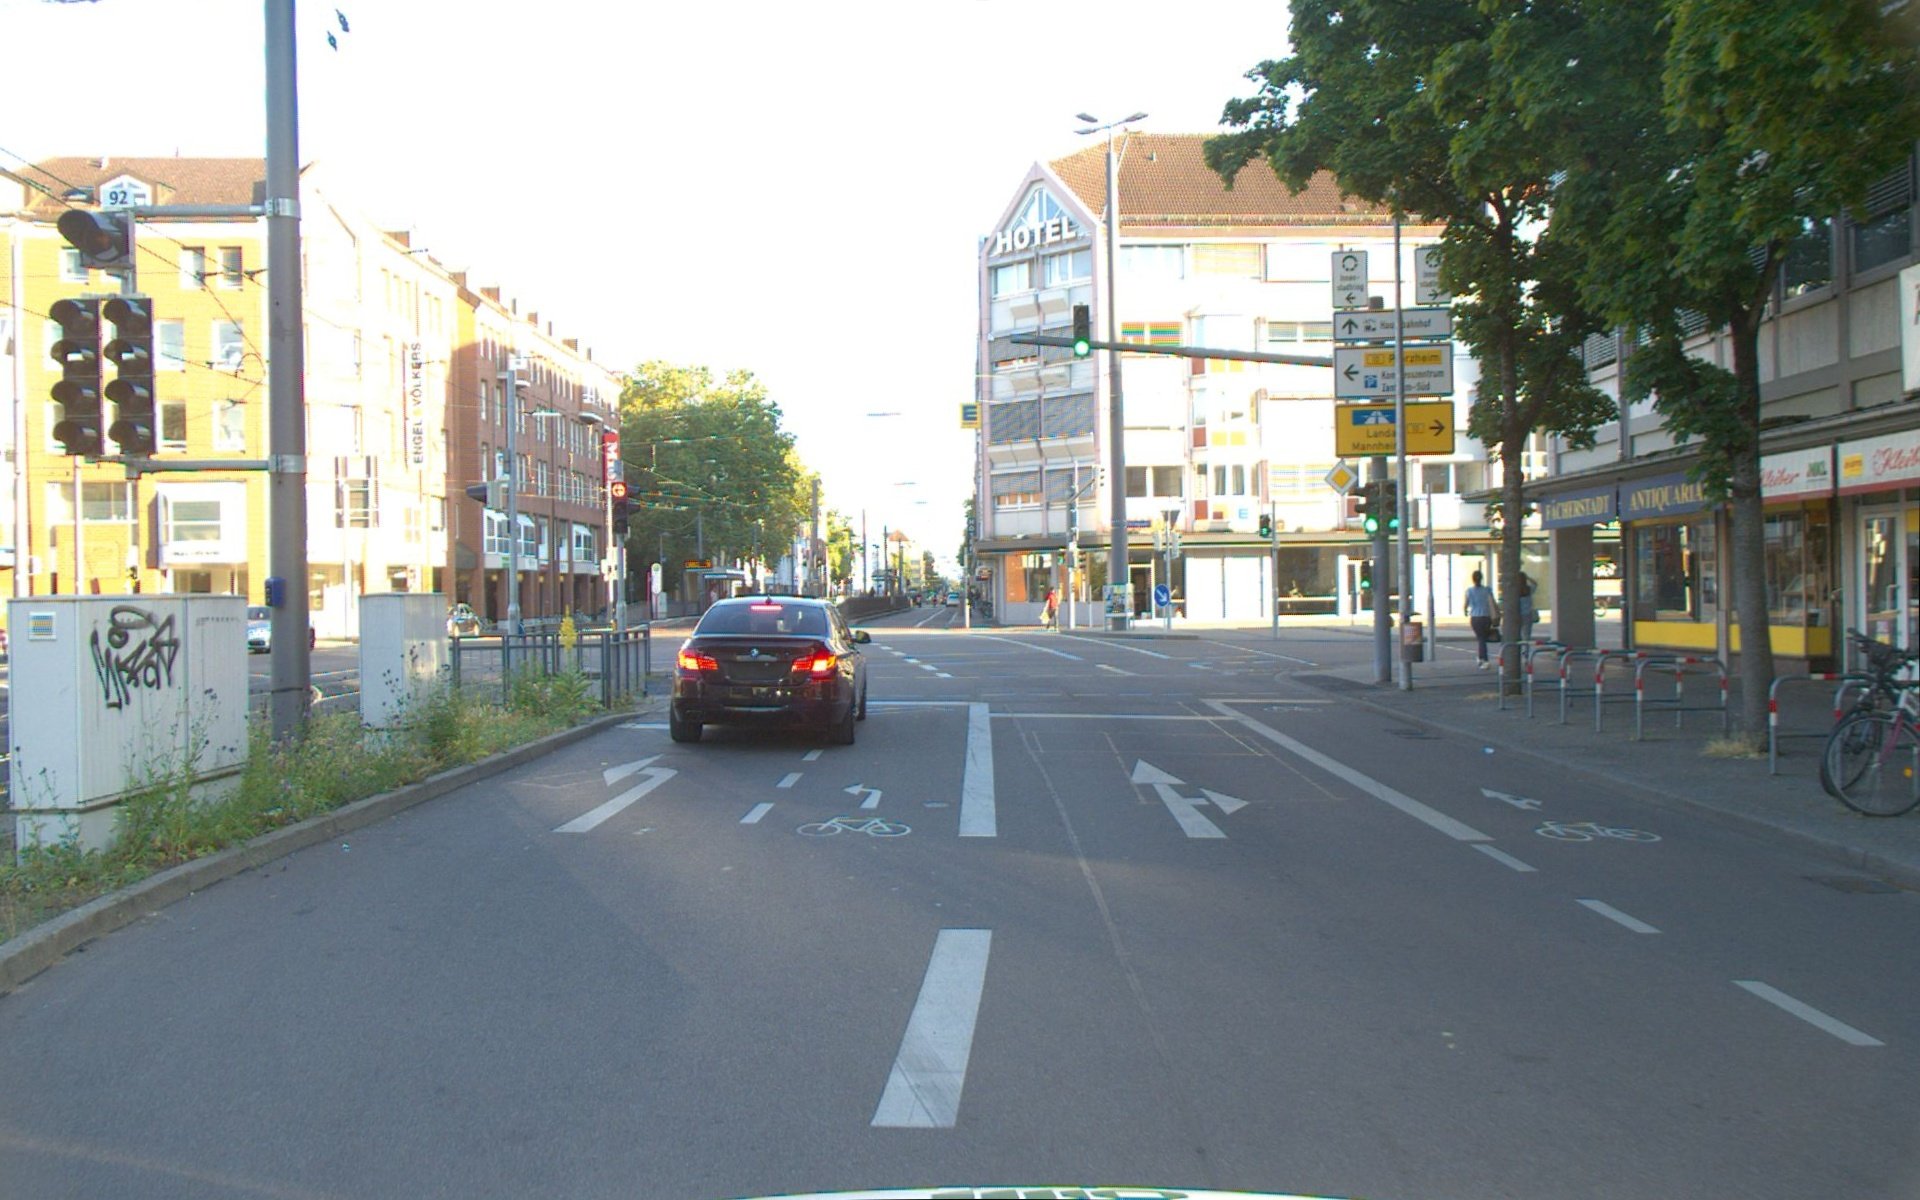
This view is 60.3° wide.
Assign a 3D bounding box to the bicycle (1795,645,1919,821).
[{"bbox_3d":[6.795,0.883,11.160,1.954,1.130,0.669,-1,0,13],"label":"bicycle"}]

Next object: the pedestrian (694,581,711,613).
[{"bbox_3d":[-16.395,-0.191,105.458,0.968,2.049,0.726,1,0,-1],"label":"pedestrian"}]

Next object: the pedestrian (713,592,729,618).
[{"bbox_3d":[-16.011,0.326,110.892,0.968,1.710,0.726,-1,0,-2],"label":"pedestrian"}]

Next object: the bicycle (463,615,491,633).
[{"bbox_3d":[-24.942,1.231,85.404,1.390,0.938,0.442,1,0,-17],"label":"bicycle"}]

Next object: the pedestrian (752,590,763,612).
[{"bbox_3d":[-16.032,0.042,130.794,0.708,1.710,0.991,-1,0,2],"label":"pedestrian"}]

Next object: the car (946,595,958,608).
[{"bbox_3d":[-0.956,0.165,206.597,1.443,1.541,3.095,-1,0,-1],"label":"car"}]

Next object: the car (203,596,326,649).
[{"bbox_3d":[-20.679,0.632,49.359,1.634,1.473,4.204,-1,0,4],"label":"car"}]

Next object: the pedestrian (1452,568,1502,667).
[{"bbox_3d":[9.009,0.295,28.818,0.670,1.696,0.671,-1,0,3],"label":"pedestrian"}]

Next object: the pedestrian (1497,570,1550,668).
[{"bbox_3d":[9.915,0.325,29.135,0.708,1.696,0.671,-1,0,3],"label":"pedestrian"}]

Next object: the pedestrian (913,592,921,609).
[{"bbox_3d":[-5.097,0.031,197.785,0.896,2.049,0.887,-1,0,-1],"label":"pedestrian"}]

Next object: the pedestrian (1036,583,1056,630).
[{"bbox_3d":[3.449,0.253,66.407,0.671,1.886,0.670,-1,0,-4],"label":"pedestrian"}]

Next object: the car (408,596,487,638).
[{"bbox_3d":[-20.976,0.680,67.859,1.953,1.612,4.477,-1,0,-2],"label":"car"}]

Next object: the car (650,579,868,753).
[{"bbox_3d":[-2.015,0.611,17.711,1.953,1.612,3.998,1,0,-2],"label":"car"}]

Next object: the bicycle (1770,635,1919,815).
[{"bbox_3d":[7.025,0.896,12.083,1.863,1.257,0.669,-1,0,11],"label":"bicycle"}]
